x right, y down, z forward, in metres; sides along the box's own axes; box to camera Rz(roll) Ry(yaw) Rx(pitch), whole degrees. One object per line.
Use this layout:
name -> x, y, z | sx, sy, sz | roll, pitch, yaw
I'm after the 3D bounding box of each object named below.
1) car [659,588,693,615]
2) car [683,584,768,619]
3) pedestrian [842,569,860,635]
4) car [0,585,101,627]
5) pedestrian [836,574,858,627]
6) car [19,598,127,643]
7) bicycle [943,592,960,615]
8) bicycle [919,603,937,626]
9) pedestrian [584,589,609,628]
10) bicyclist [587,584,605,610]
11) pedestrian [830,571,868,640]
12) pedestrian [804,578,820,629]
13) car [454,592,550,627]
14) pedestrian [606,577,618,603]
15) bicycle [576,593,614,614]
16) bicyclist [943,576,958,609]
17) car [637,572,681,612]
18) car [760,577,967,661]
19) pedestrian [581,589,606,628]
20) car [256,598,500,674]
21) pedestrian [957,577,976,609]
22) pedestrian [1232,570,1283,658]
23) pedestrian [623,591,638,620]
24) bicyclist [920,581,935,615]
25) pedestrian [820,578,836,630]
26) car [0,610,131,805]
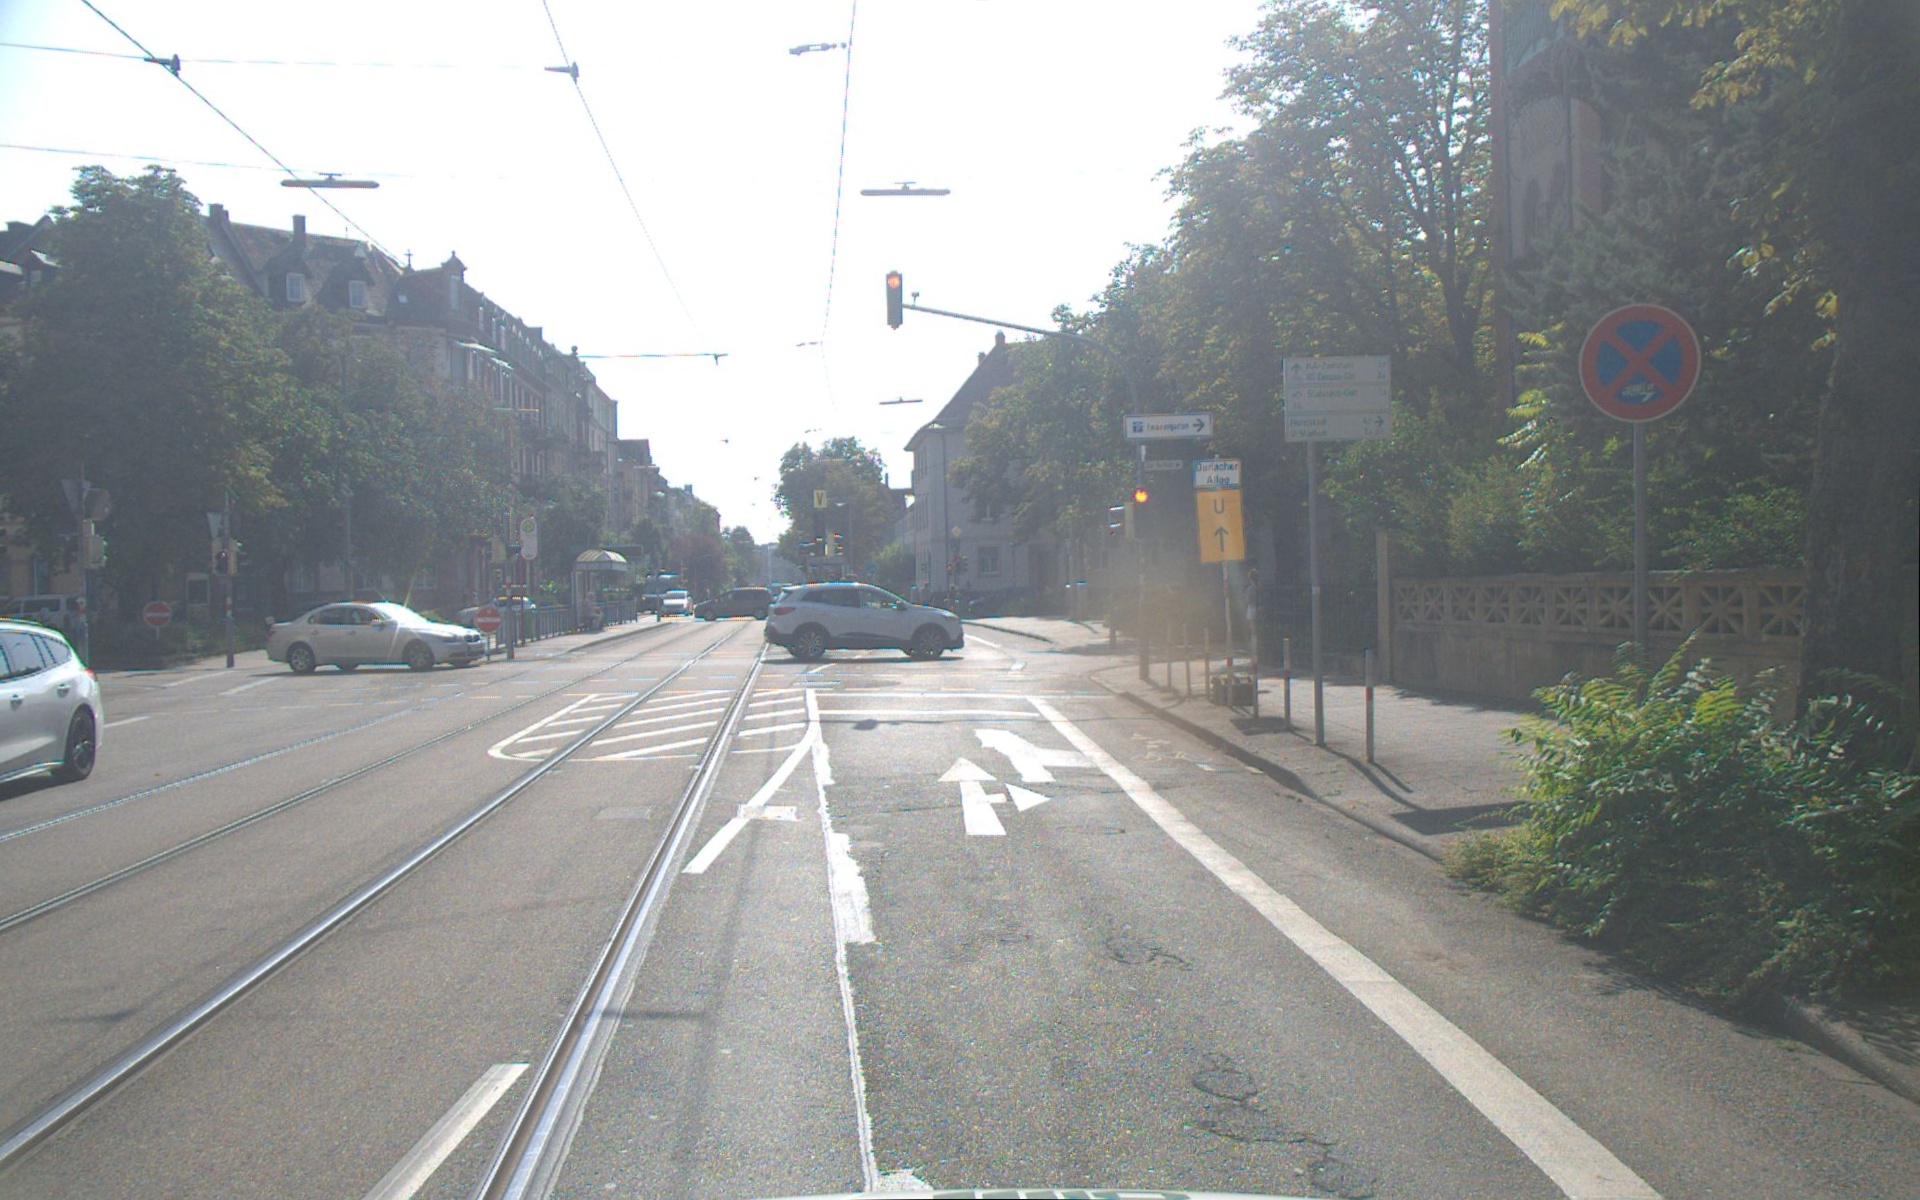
car -> -17.855, 0.076, 104.168 | 1.766, 1.682, 3.639 | -1, 0, -4
car -> -12.247, 0.073, 86.608 | 4.239, 1.704, 1.997 | -1, 0, -6
pedestrian -> -3.165, 0.054, 48.056 | 0.494, 1.865, 0.533 | 1, 2, -5
car -> -42.412, 0.265, 77.090 | 3.902, 1.860, 2.001 | -1, 1, 16
pedestrian -> -3.894, 0.011, 56.917 | 0.695, 1.790, 0.533 | 1, 2, -5
car -> -39.240, 0.912, 73.200 | 3.902, 1.860, 2.001 | -1, 1, 16
bicycle -> -0.399, 0.137, 75.040 | 0.547, 0.995, 1.853 | -2, 1, -7
bicycle -> -1.468, 0.659, 75.583 | 0.617, 0.995, 1.767 | -2, 1, -7
pedestrian -> -13.289, 0.304, 60.492 | 0.812, 1.382, 0.774 | -1, 0, -10
bicyclist -> -18.830, -0.160, 85.507 | 0.802, 1.351, 0.548 | -2, 1, -4
pedestrian -> -2.944, 0.131, 43.797 | 0.686, 1.755, 0.747 | 3, 3, 27
pedestrian -> -5.261, 0.132, 58.836 | 0.522, 1.790, 0.544 | 1, 2, -4
car -> -22.575, 0.458, 81.508 | 4.271, 1.596, 1.983 | -2, 0, -27
pedestrian -> -23.895, -0.698, 113.579 | 0.737, 1.761, 0.769 | -1, 0, -14
bicycle -> -18.852, 0.178, 85.510 | 1.814, 0.974, 0.548 | -2, 1, -4
bicyclist -> -0.418, -0.344, 75.050 | 0.547, 1.441, 0.870 | -2, 0, -7
car -> -21.508, -0.597, 118.354 | 2.300, 2.708, 5.103 | -1, 0, -1
car -> -2.133, 0.386, 36.195 | 4.243, 1.659, 1.994 | -2, 1, -13
pedestrian -> -13.177, 0.309, 59.523 | 0.812, 1.382, 0.774 | -1, 0, -10
car -> -12.607, 0.768, 35.931 | 4.668, 1.492, 1.872 | -1, 0, 11
pedestrian -> 0.390, -0.417, 93.768 | 0.872, 1.771, 0.777 | -1, 0, 16
pedestrian -> 6.104, 0.276, 33.954 | 0.737, 1.761, 0.769 | -1, 0, -14
pedestrian -> -20.058, 0.324, 100.753 | 0.735, 1.761, 0.771 | -1, 0, -3
bicyclist -> -1.480, -0.090, 75.577 | 0.617, 1.534, 0.677 | -2, 0, -7
pedestrian -> -4.586, 0.136, 57.476 | 0.532, 1.790, 0.533 | 1, 2, -5
car -> -8.502, 0.916, 13.327 | 1.838, 1.479, 4.536 | -4, 1, -9
